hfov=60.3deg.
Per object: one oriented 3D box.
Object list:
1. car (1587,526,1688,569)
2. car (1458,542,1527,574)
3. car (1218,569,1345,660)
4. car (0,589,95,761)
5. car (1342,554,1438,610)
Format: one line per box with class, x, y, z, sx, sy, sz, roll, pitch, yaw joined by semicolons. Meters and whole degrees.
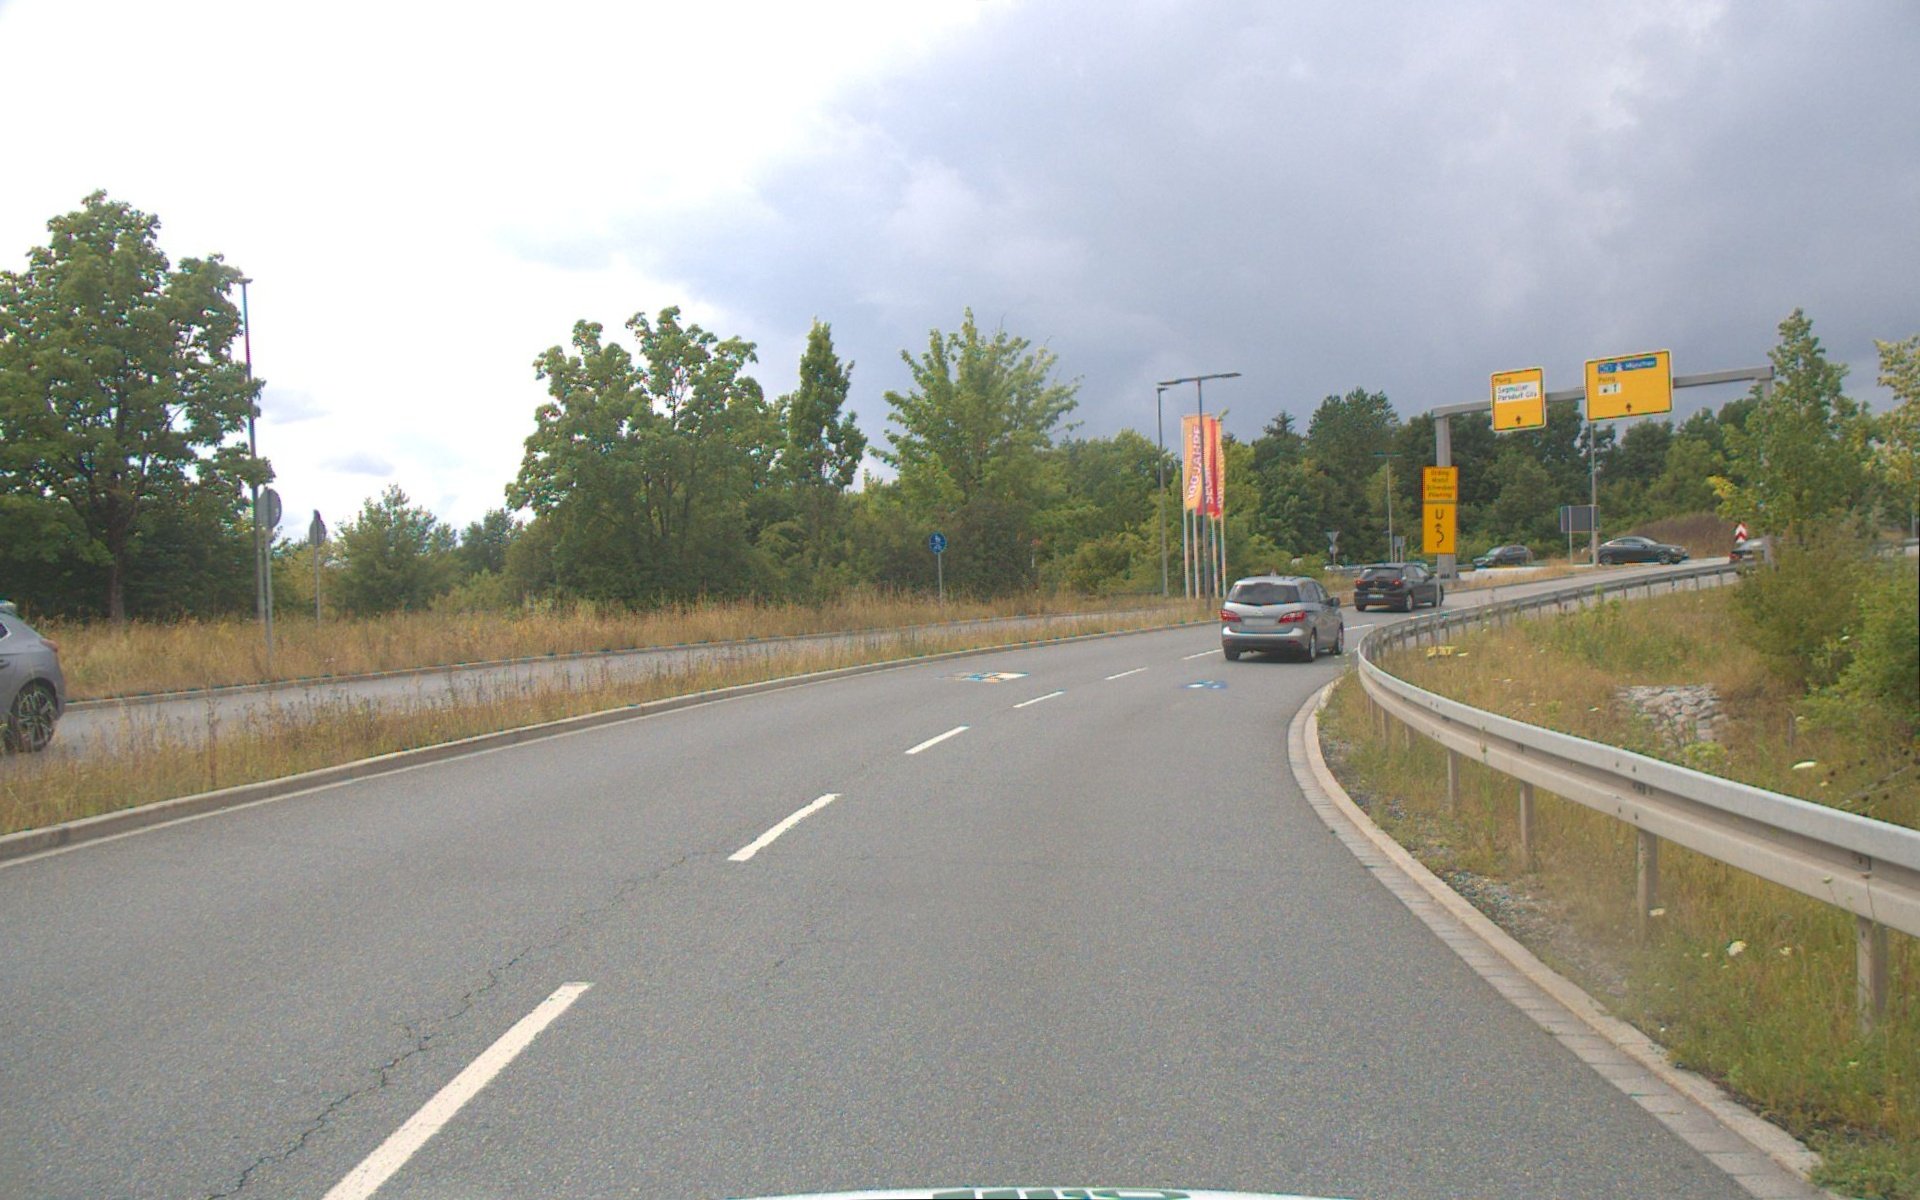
car;32.601;-2.509;79.701;1.882;1.814;4.103;-3;0;-36
car;34.885;-2.743;108.445;4.101;1.693;1.844;-6;1;-26
car;6.446;0.344;32.869;1.731;1.645;3.920;0;-3;23
car;-9.262;0.669;13.843;1.427;1.512;4.099;-1;0;8
car;13.399;-0.547;51.403;1.835;1.633;3.725;-1;0;32
